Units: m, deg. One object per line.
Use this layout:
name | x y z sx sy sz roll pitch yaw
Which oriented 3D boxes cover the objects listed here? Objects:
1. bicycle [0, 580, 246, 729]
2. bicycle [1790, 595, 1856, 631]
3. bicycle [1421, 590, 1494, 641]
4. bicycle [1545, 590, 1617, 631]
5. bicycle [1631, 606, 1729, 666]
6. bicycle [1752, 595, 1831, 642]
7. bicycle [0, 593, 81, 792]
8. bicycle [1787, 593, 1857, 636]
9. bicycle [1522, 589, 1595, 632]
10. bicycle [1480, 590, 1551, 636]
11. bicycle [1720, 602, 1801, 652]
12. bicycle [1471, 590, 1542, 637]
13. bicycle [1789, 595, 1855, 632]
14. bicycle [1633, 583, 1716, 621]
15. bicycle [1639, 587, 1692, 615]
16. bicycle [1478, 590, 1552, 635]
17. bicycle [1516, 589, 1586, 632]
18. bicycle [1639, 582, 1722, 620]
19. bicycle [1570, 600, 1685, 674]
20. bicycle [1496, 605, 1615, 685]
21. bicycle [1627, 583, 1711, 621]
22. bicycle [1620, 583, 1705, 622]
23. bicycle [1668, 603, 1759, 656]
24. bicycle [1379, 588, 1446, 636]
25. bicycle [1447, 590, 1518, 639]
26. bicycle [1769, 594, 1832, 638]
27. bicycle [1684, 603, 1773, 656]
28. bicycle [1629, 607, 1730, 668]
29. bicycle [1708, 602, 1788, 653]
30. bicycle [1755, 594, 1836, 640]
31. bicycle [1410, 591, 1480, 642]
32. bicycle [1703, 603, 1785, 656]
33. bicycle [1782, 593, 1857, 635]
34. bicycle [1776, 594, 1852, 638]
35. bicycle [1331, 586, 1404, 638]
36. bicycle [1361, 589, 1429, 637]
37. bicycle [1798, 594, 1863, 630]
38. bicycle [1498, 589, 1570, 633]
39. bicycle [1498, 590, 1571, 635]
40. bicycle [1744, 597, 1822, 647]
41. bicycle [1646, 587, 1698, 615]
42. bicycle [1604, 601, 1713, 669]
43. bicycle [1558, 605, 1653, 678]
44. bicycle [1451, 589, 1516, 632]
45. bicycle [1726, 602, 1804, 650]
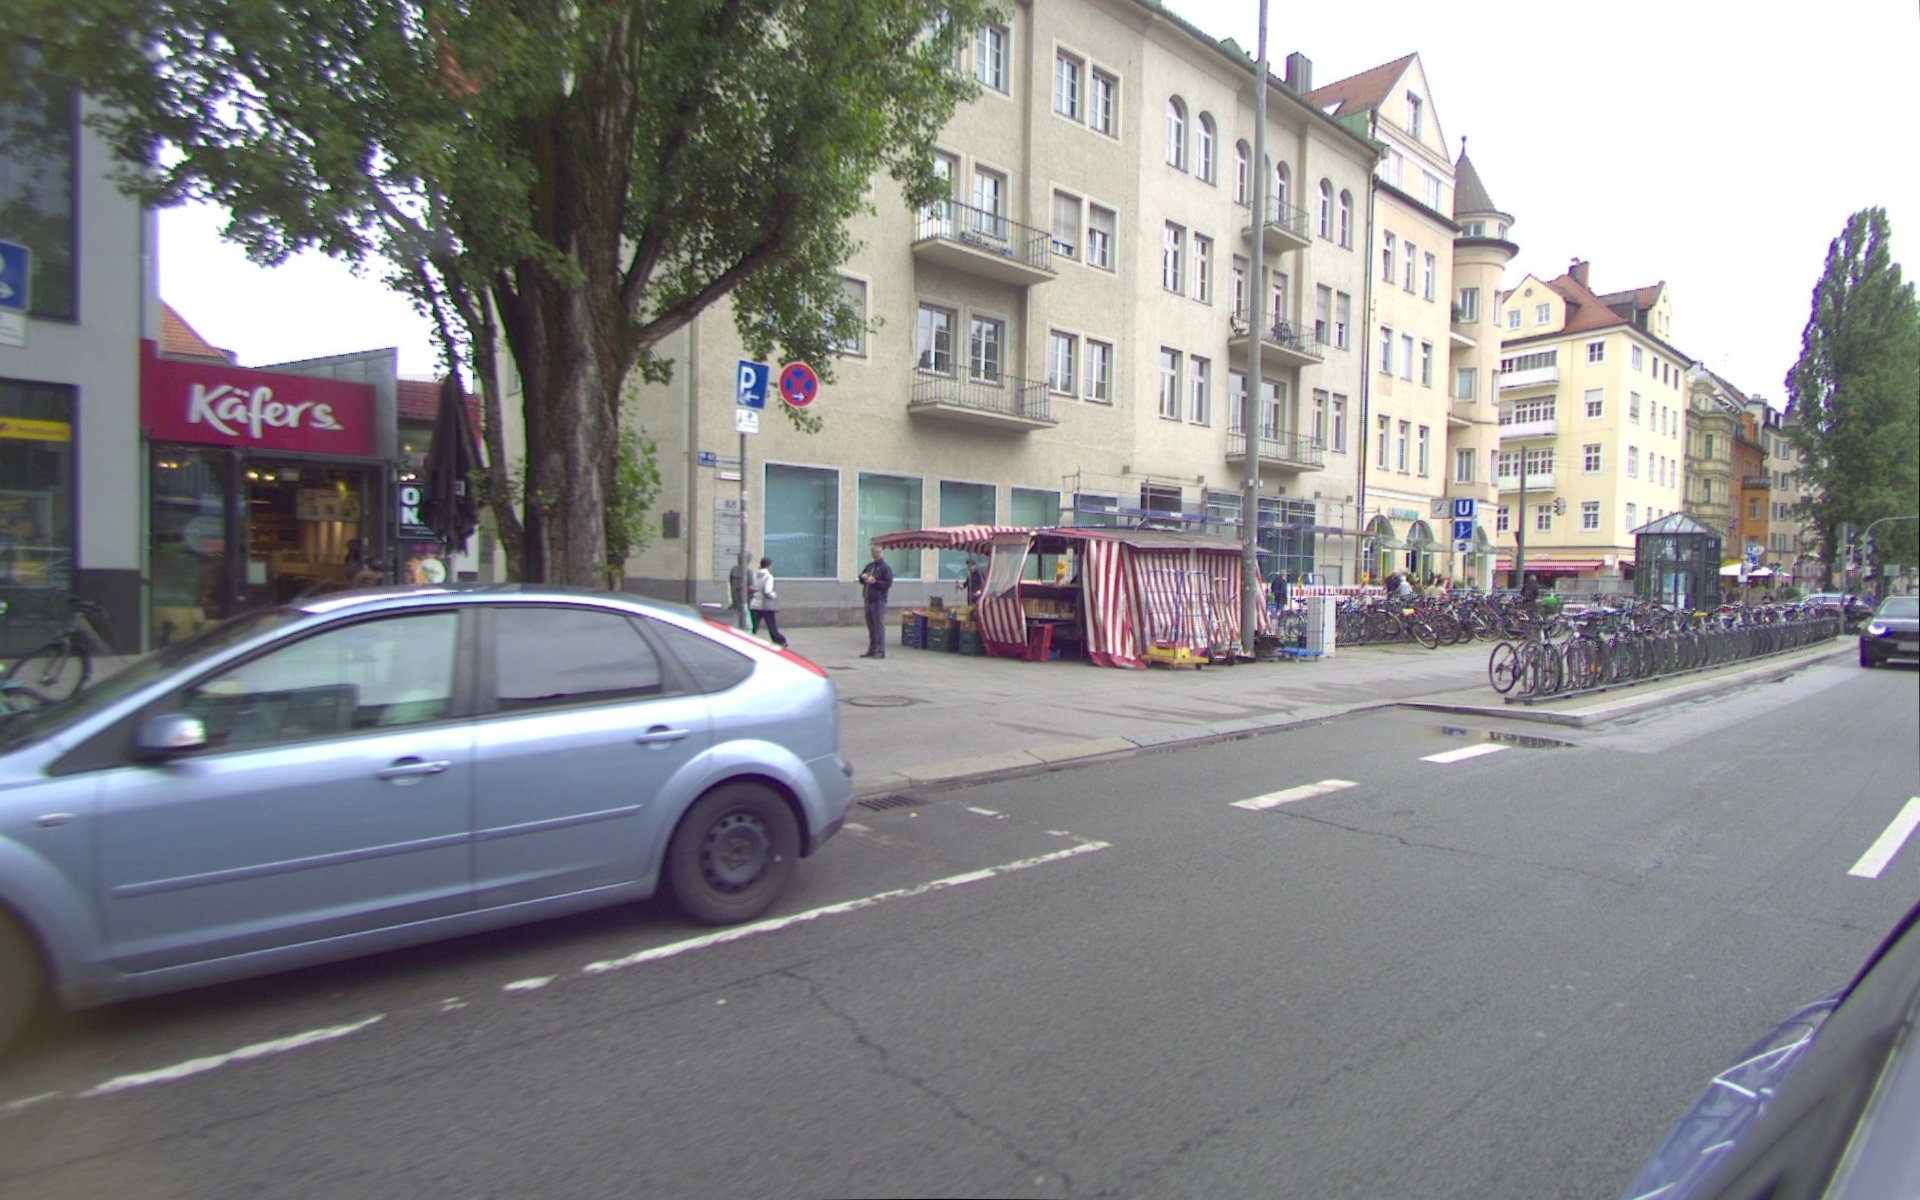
bicycle | -7.482 0.440 9.053 1.742 1.209 0.528 0 3 -41
bicycle | 26.140 0.405 30.688 0.390 1.073 1.851 0 -2 1
bicycle | 11.769 0.353 23.962 1.447 1.091 0.404 4 3 41
bicycle | 17.623 0.287 28.732 1.728 1.091 0.410 1 2 -1
bicycle | 13.012 0.647 18.352 0.378 1.024 1.802 0 -2 -3
bicycle | 21.612 0.463 26.349 0.480 1.151 1.797 0 1 -3
bicycle | -6.391 0.546 5.941 1.787 1.174 0.480 0 1 -25
bicycle | 24.187 0.401 28.421 0.469 1.151 1.679 0 1 -2
bicycle | 16.662 0.274 28.202 0.403 1.091 1.653 -1 3 -42
bicycle | 14.453 0.315 26.350 0.403 1.091 1.527 -1 3 -42
bicycle | 17.736 0.602 22.475 0.390 1.073 1.850 0 -2 3
bicycle | 14.011 0.325 25.976 0.403 1.091 1.538 -1 3 -42
bicycle | 25.673 0.418 30.184 0.390 1.073 1.851 0 -2 1
bicycle | 25.396 0.038 36.015 0.617 1.242 2.318 0 2 -38
bicycle | 31.473 0.041 45.153 0.597 1.141 1.828 2 1 -29
bicycle | 14.753 0.313 26.915 0.403 1.091 1.661 0 3 -39
bicycle | 16.302 0.282 27.939 0.403 1.091 1.603 -1 3 -42
bicycle | 25.934 0.025 36.471 0.617 1.242 2.318 0 2 -38
bicycle | 10.581 0.586 16.129 0.536 1.119 1.802 0 -2 -3
bicycle | 8.479 0.634 14.504 0.536 1.068 1.802 0 -2 -3
bicycle | 24.909 0.050 35.582 0.617 1.242 2.318 0 2 -38
bicycle | 24.408 0.061 35.210 0.617 1.242 2.318 0 2 -38
bicycle | 15.125 0.590 20.373 0.378 1.024 1.802 0 -2 -3
bicycle | 11.286 0.289 25.268 1.447 1.091 0.404 4 3 41
bicycle | 12.772 0.337 24.754 1.447 1.091 0.404 4 3 41
bicycle | 22.938 0.427 27.642 0.341 1.151 1.527 0 1 -6
bicycle | 16.125 0.626 21.292 0.389 1.073 1.802 0 -2 -3
bicycle | 12.598 0.648 17.789 0.378 1.024 1.802 0 -2 -3
bicycle | 17.290 0.614 22.254 0.390 1.073 1.850 0 -2 3
bicycle | 22.452 0.438 27.245 0.578 1.151 1.798 0 1 -5
bicycle | 11.292 0.371 23.602 0.402 1.091 1.454 0 3 -33
bicycle | 16.729 0.631 21.641 0.390 1.073 1.850 0 -2 3
bicycle | 24.639 0.385 29.046 0.468 1.151 1.788 0 1 -7
bicycle | 23.523 0.416 27.912 0.468 1.151 1.681 0 1 -11
bicycle | 9.551 0.255 23.797 0.402 1.116 1.636 0 3 -32
bicycle | 10.727 0.299 24.967 1.447 1.091 0.404 4 3 41
bicycle | 26.674 0.394 31.048 0.390 1.073 1.851 0 -2 1
bicycle | 15.693 0.291 27.691 0.403 1.091 1.623 -1 3 -42
bicycle | 15.311 0.307 27.028 0.402 1.091 1.639 0 3 -36
bicycle | 20.129 0.505 24.793 0.481 1.151 1.795 0 1 3
bicycle | 32.007 0.031 45.509 0.597 1.141 1.828 2 1 -29
bicycle | 12.112 0.607 17.613 0.536 1.119 1.802 0 -2 -3
bicycle | 10.008 0.640 15.760 0.360 1.068 1.800 0 -2 2
bicycle | 14.657 0.283 28.372 0.403 1.091 1.528 -1 3 -42
bicycle | 18.725 0.603 23.584 0.390 1.073 1.850 0 -2 3
